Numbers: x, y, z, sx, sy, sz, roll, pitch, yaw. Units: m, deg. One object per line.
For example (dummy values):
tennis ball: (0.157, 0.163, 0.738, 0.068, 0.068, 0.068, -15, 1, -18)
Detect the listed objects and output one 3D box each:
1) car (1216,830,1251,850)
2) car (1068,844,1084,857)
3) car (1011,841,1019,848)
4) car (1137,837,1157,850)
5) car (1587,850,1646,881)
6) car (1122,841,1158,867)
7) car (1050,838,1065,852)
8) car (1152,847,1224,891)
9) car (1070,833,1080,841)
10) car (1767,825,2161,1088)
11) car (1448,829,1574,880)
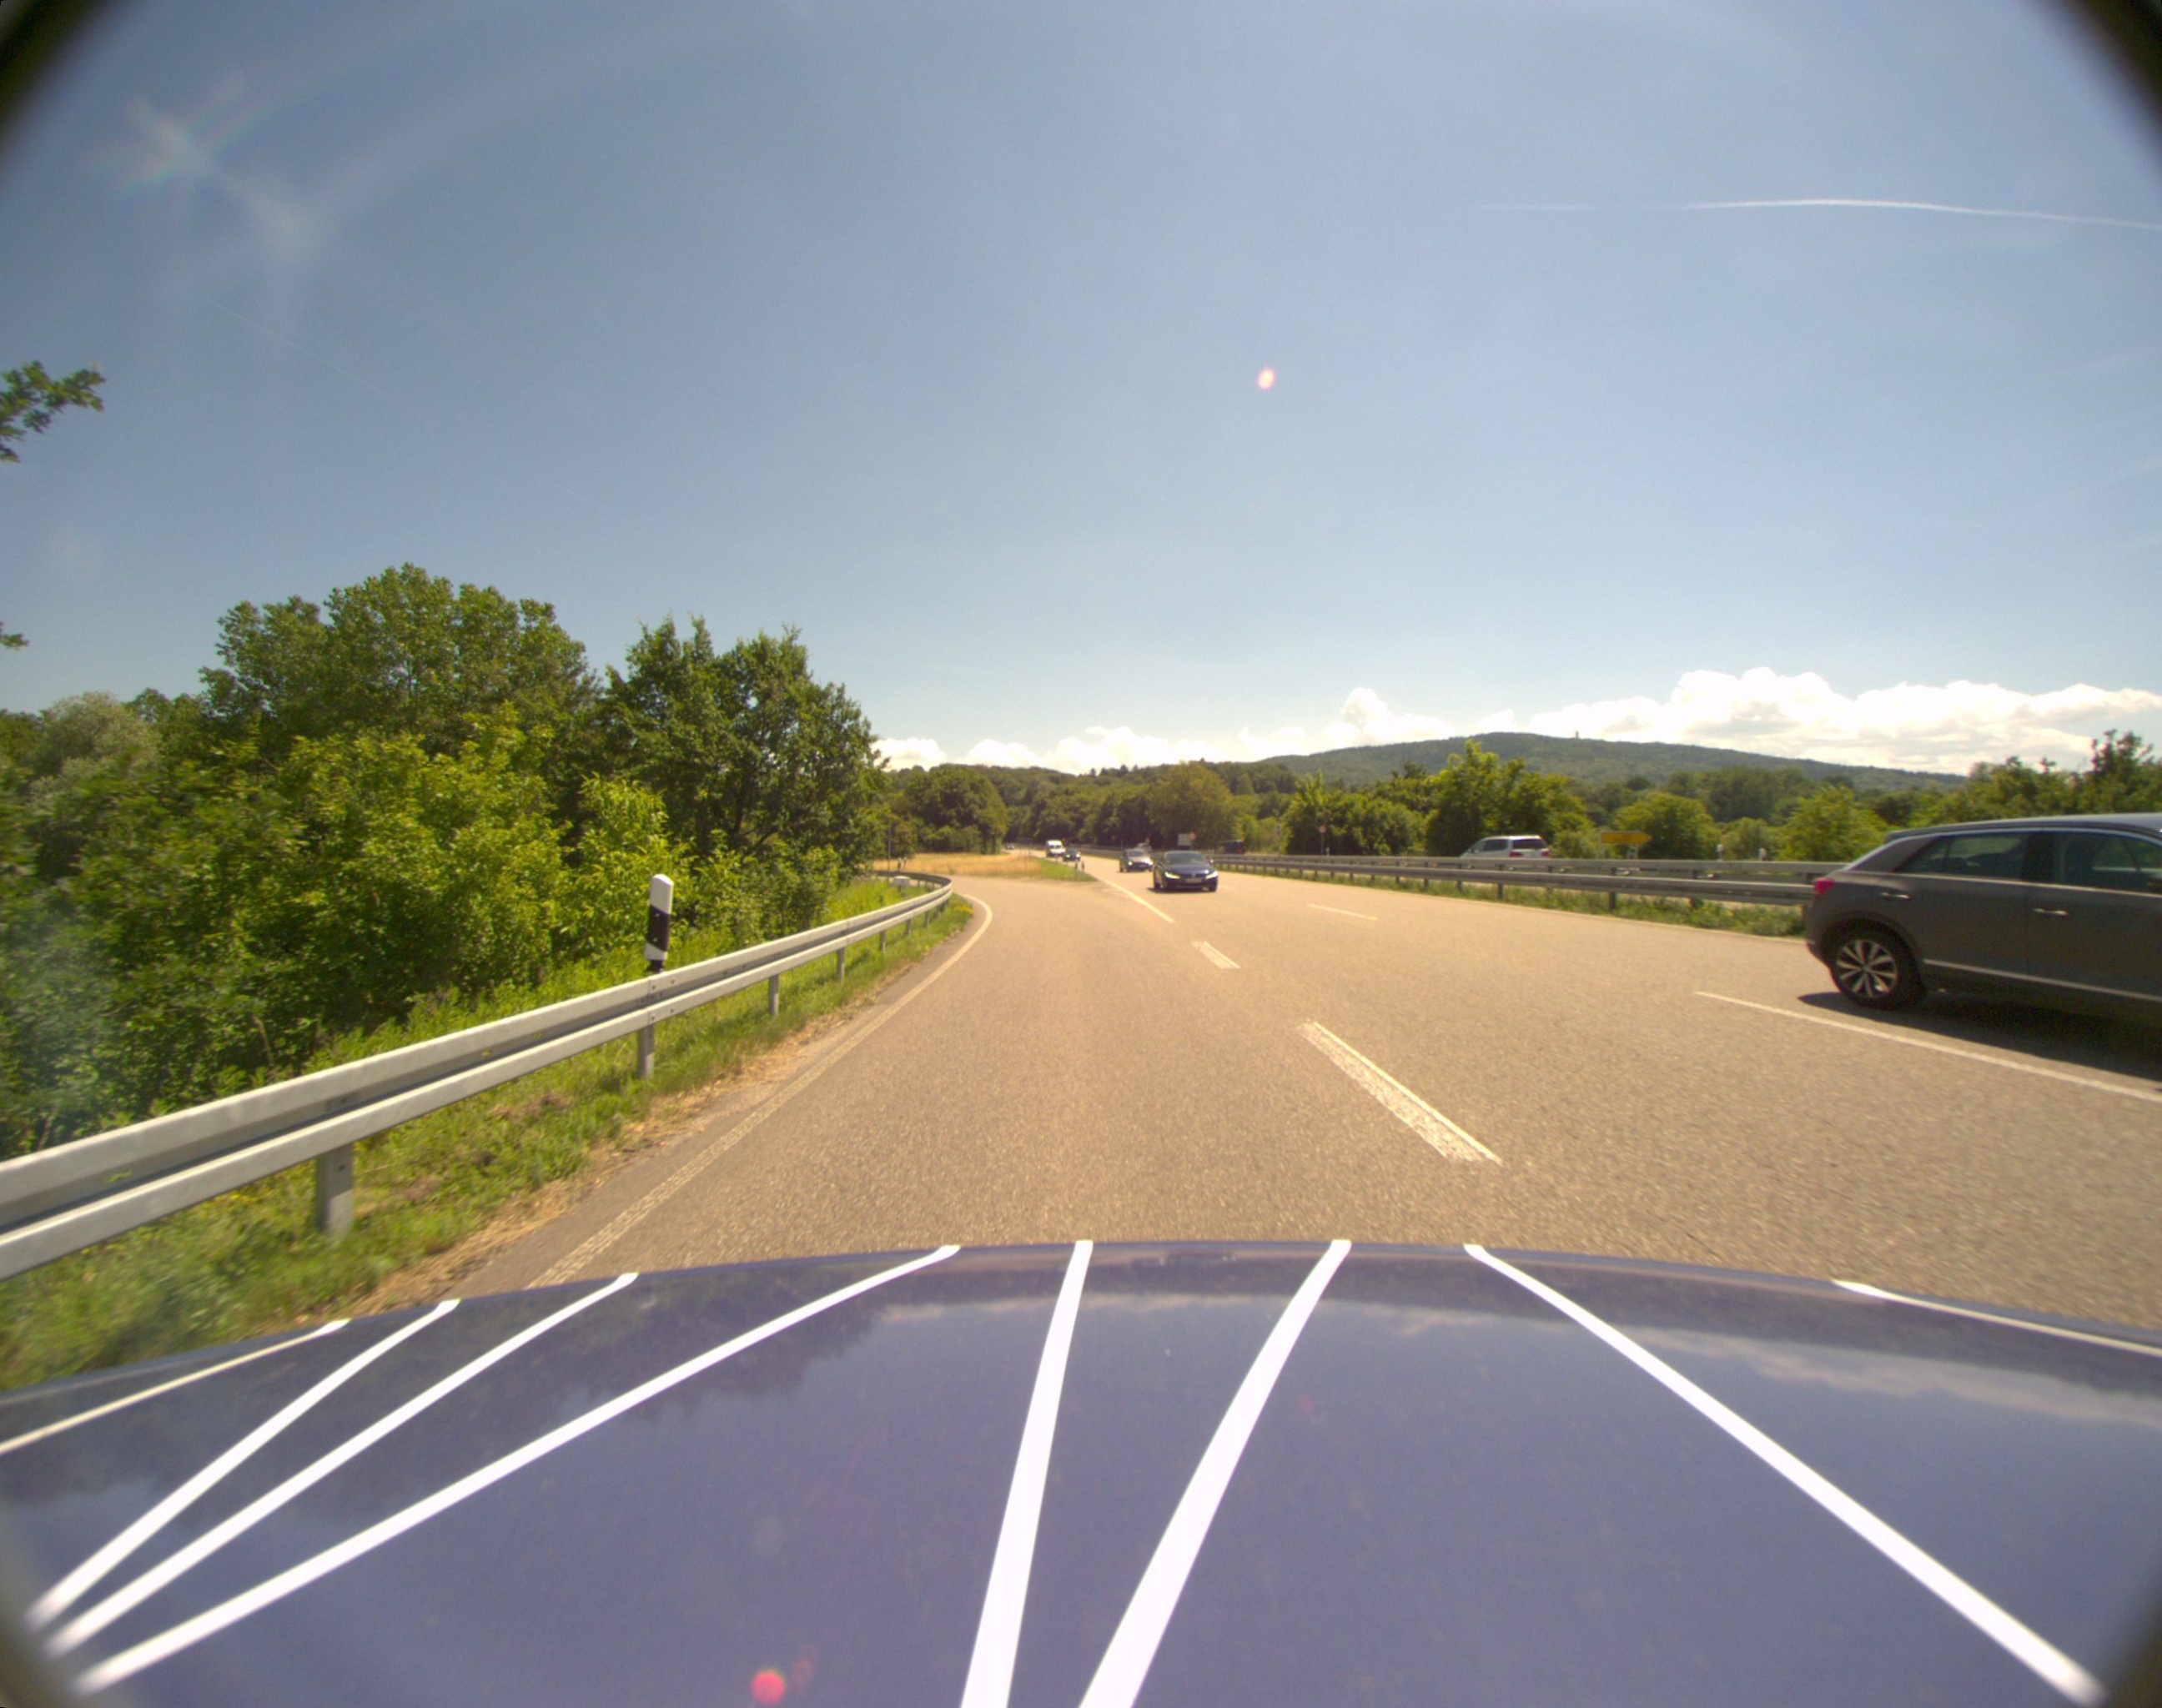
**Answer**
car: (15.067, -1.402, 75.225, 2.210, 1.882, 4.908, -1, 2, -4)
car: (-0.641, -0.426, 92.880, 1.846, 1.400, 4.468, -1, 2, -1)
car: (-16.993, -2.523, 194.822, 1.876, 1.594, 3.997, -1, 2, -4)
car: (10.202, -1.695, 118.137, 2.000, 1.882, 4.906, -1, 2, -10)
car: (37.533, 0.759, 53.447, 2.206, 1.882, 4.918, 0, 2, 21)
car: (4.044, -0.001, 52.727, 1.798, 1.658, 4.552, -2, 1, -4)
car: (-3.613, -1.328, 115.115, 2.009, 1.988, 4.575, -2, 2, -6)
car: (3.788, 0.475, 27.592, 1.846, 1.400, 4.468, -2, 1, -1)
car: (-1.543, -4.427, 194.394, 2.000, 1.882, 4.906, -1, 2, -9)
car: (7.292, 0.587, 4.815, 1.846, 1.521, 4.469, -2, 1, 0)
car: (17.524, -0.057, 31.328, 2.210, 1.882, 4.909, -1, 2, -3)
